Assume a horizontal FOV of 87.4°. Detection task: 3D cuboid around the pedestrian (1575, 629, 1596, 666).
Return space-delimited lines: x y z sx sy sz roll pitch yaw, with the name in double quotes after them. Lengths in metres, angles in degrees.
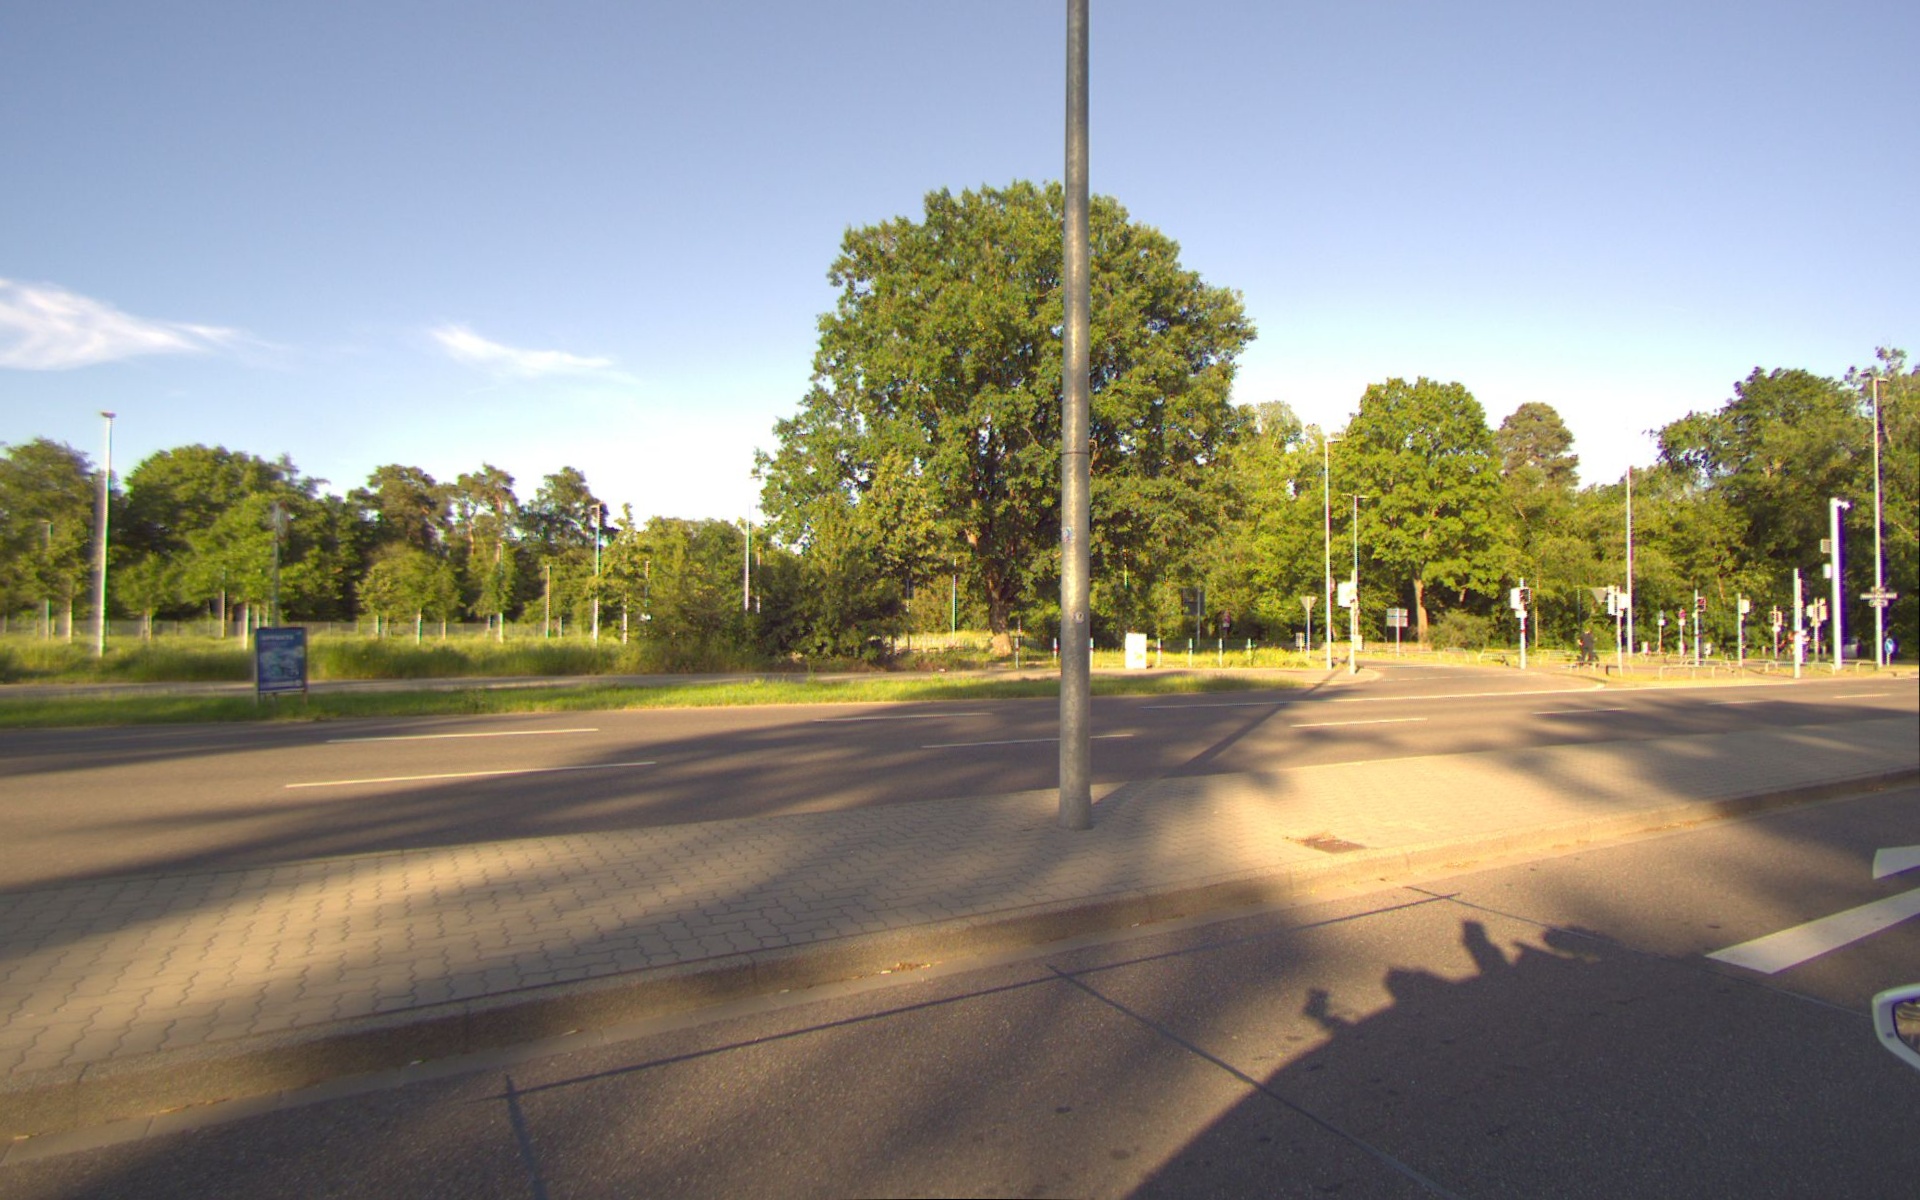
26.932 2.033 43.254 0.636 1.580 0.539 0 -2 18 "pedestrian"
